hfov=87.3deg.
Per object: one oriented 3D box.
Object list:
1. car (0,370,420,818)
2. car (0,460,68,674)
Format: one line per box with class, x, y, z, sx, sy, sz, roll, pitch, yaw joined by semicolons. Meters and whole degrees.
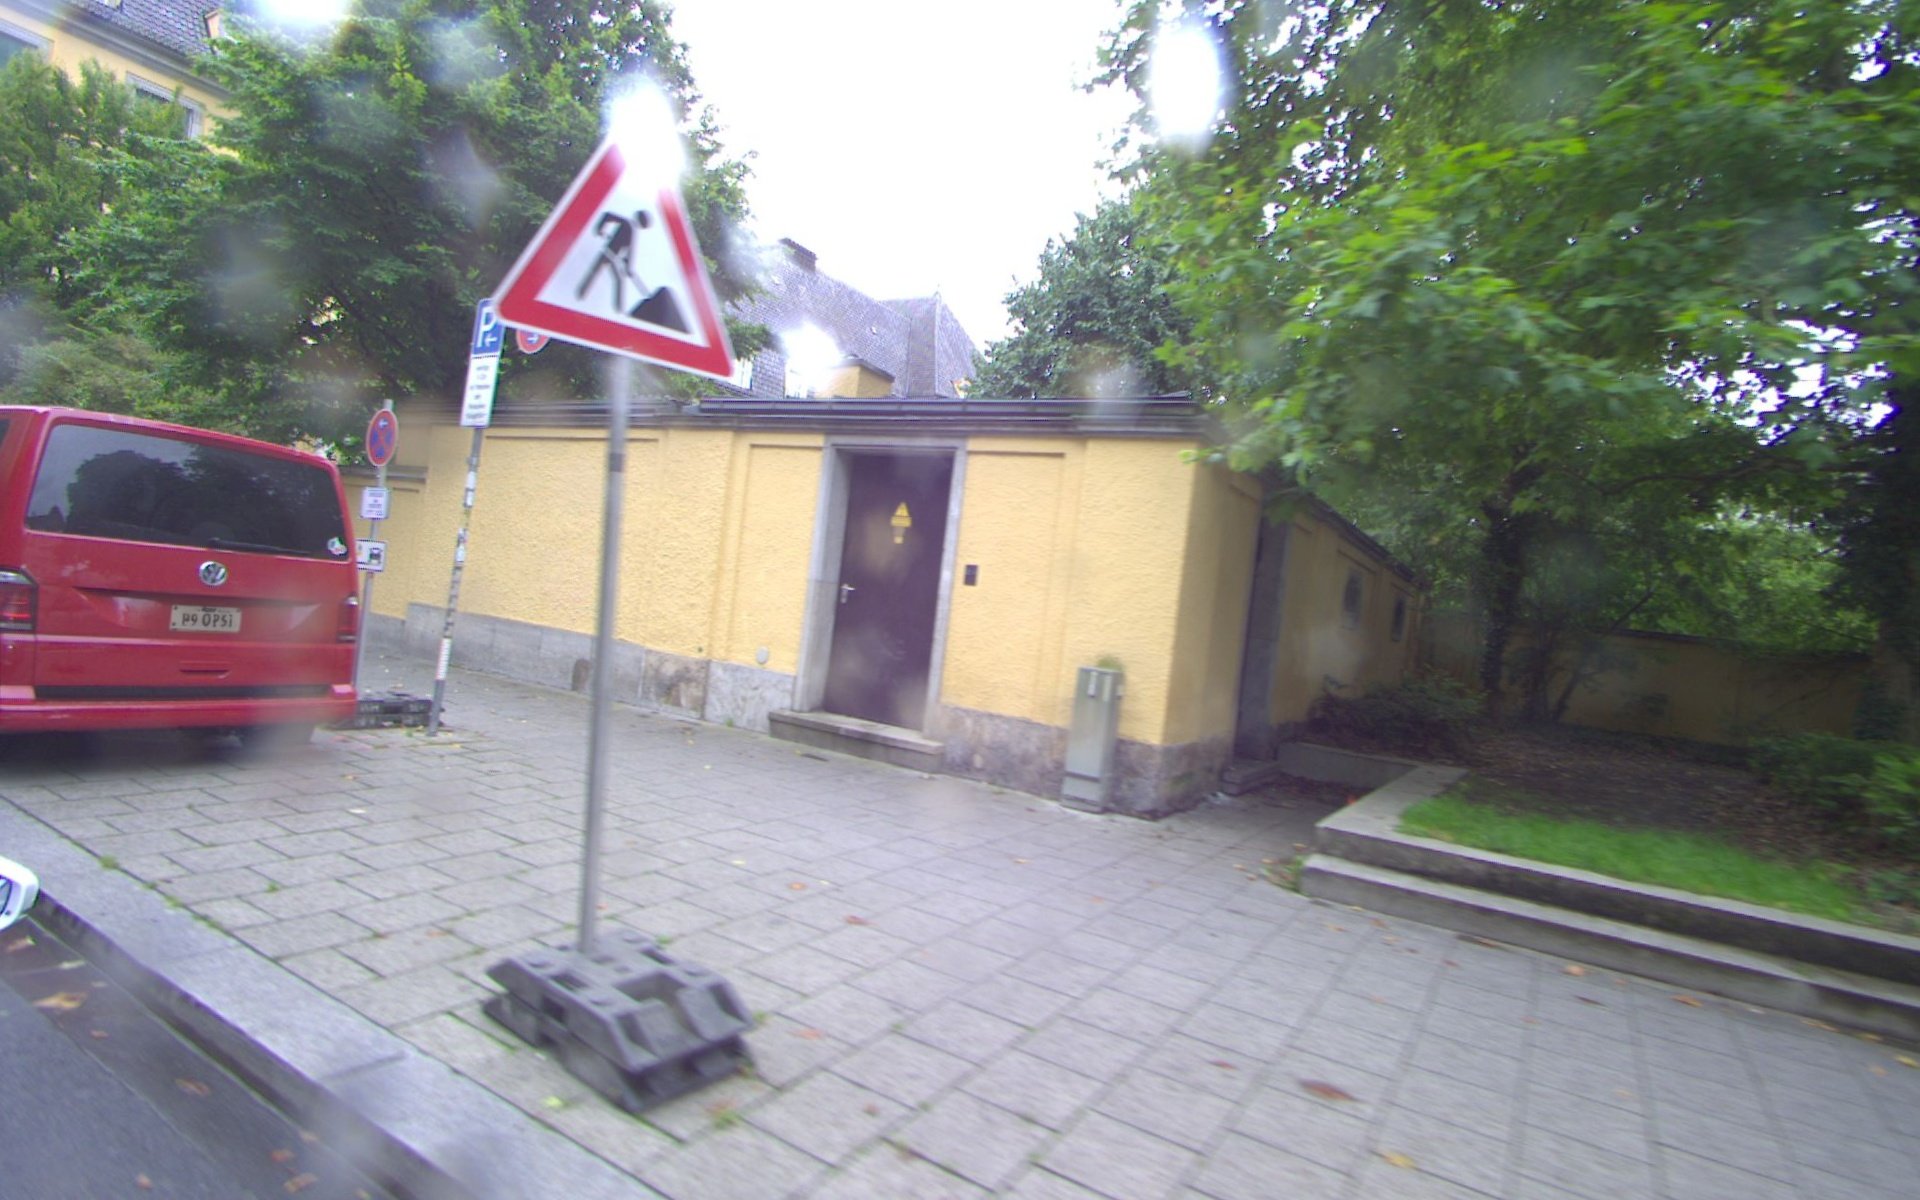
car;-6.082;-0.170;6.608;5.354;1.992;1.861;5;0;31
car;-10.191;-0.532;9.073;4.526;1.762;1.862;6;-1;31
